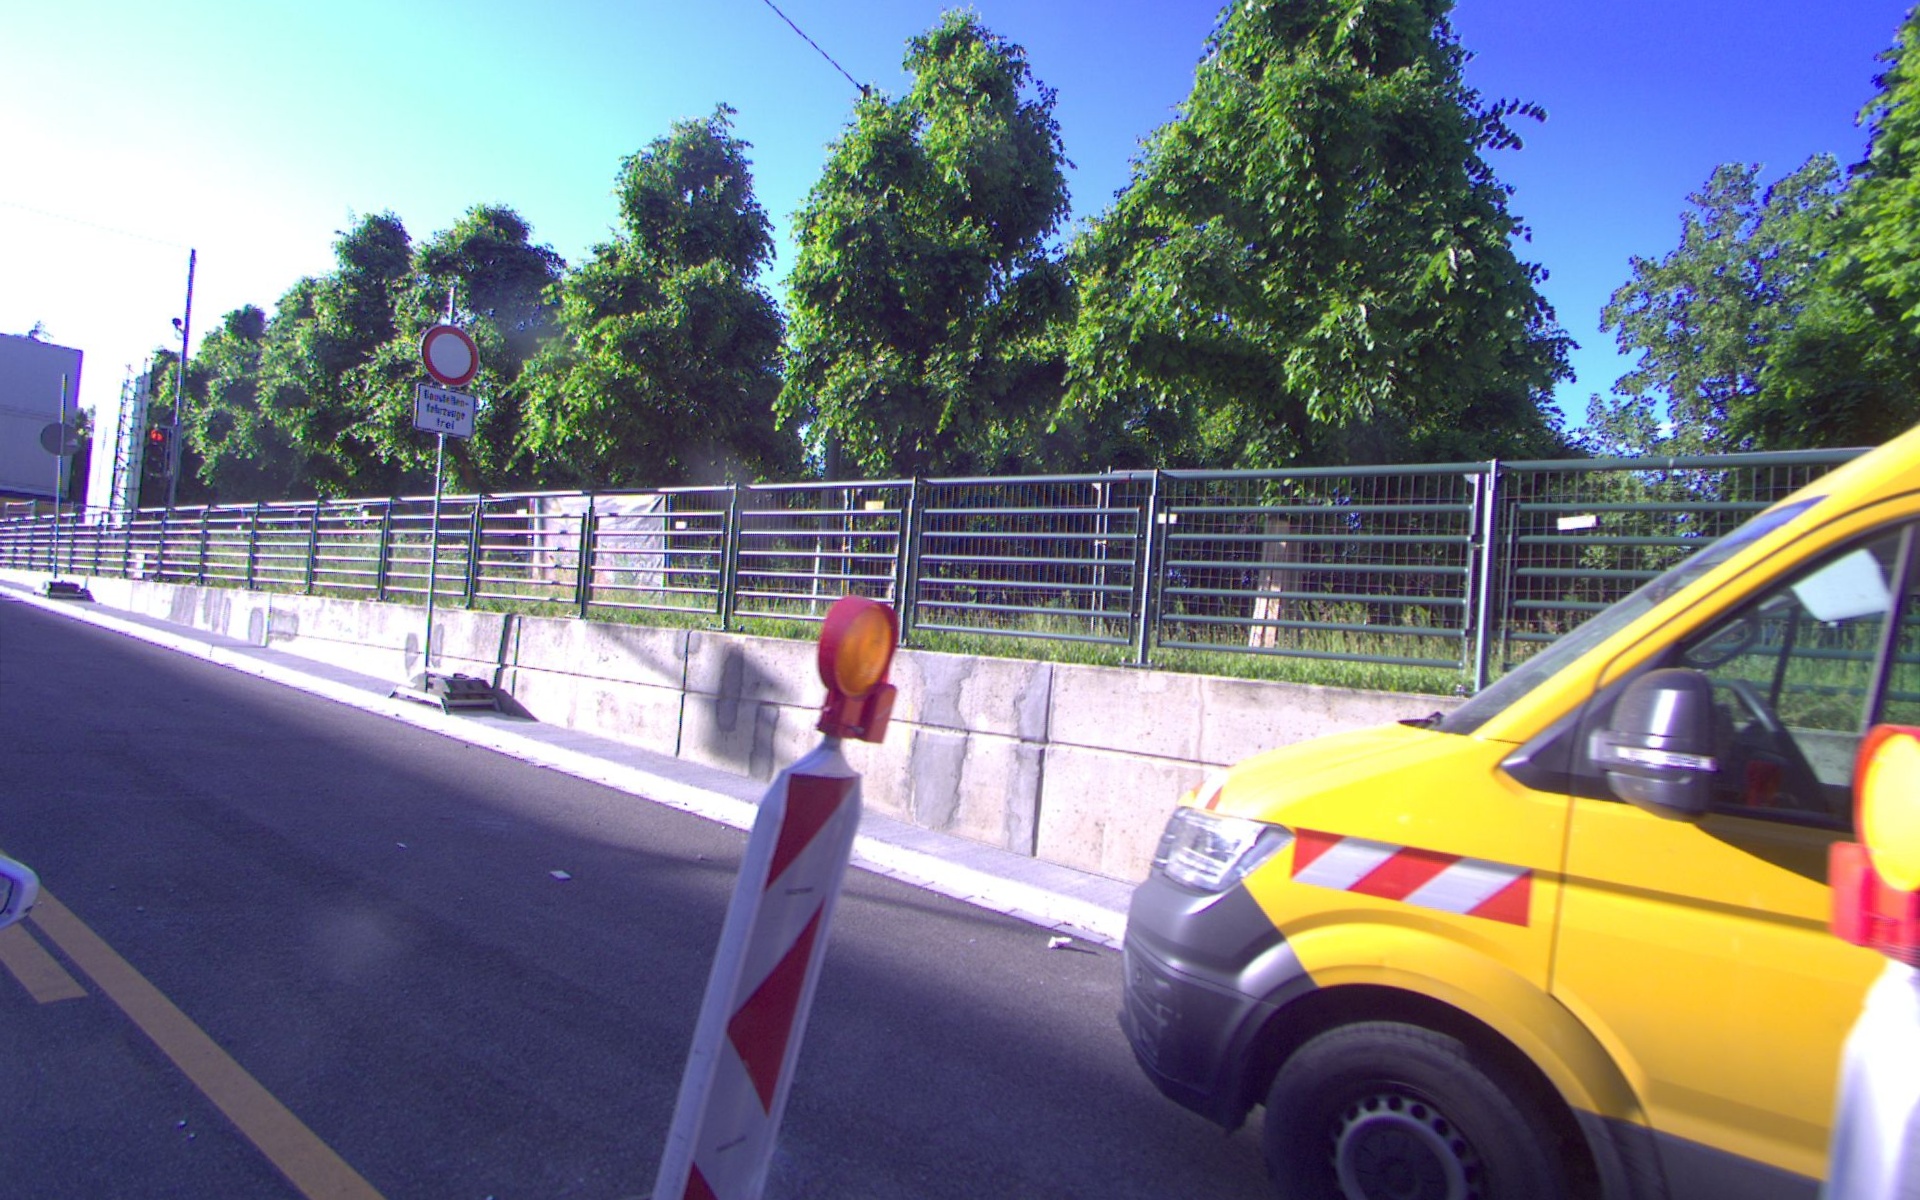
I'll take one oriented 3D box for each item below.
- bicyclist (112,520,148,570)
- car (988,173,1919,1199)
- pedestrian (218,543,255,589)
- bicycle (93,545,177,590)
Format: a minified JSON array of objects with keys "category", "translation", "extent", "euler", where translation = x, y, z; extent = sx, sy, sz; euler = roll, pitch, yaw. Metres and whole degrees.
[{"category":"bicyclist","translation":[-26.934,-1.778,32.641],"extent":[0.677,1.533,0.700],"euler":[3,-3,43]},{"category":"car","translation":[3.638,0.709,1.985],"extent":[6.876,2.656,2.114],"euler":[6,-1,34]},{"category":"pedestrian","translation":[-25.867,-1.211,35.988],"extent":[0.653,1.585,0.745],"euler":[4,0,21]},{"category":"bicycle","translation":[-26.835,-1.039,32.765],"extent":[0.470,1.215,1.990],"euler":[4,-3,41]}]
